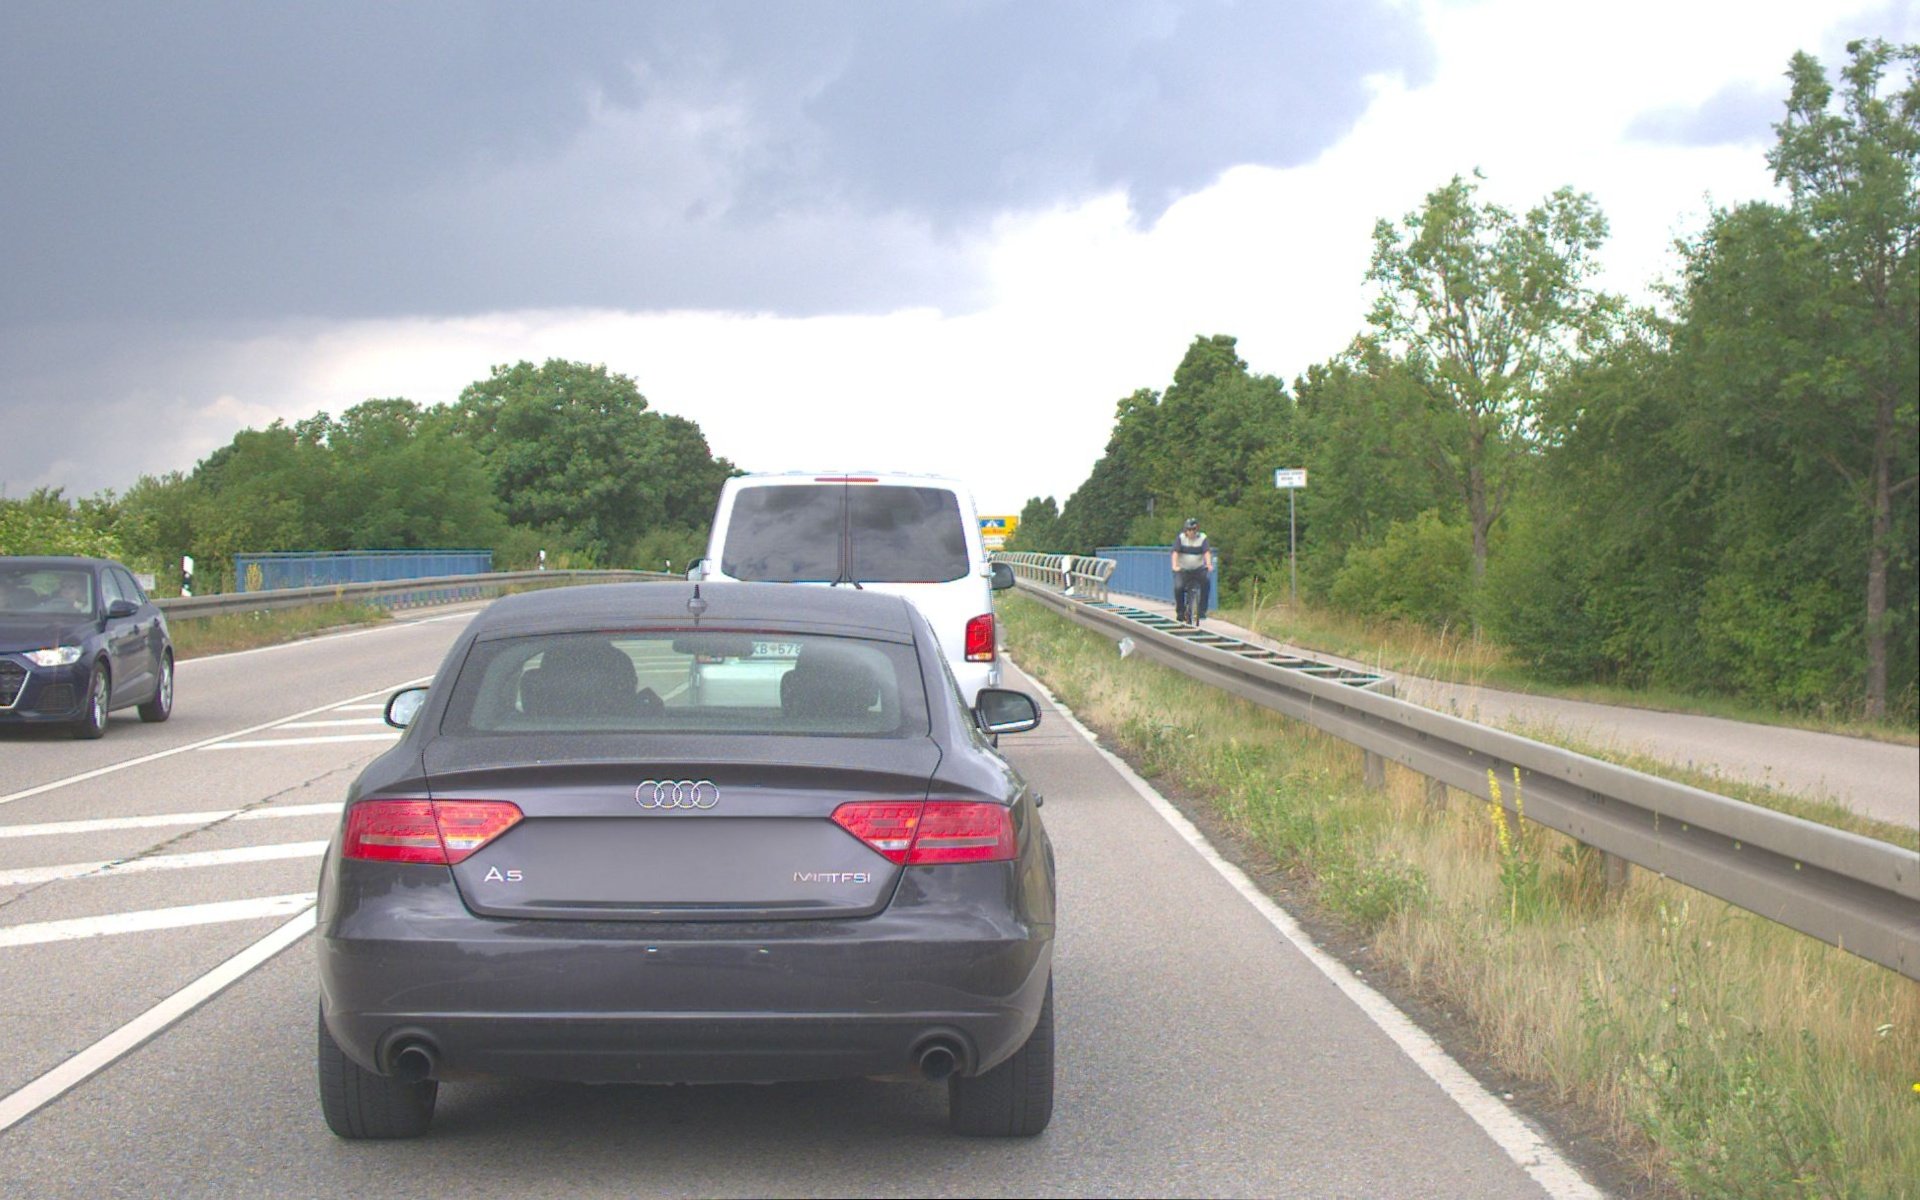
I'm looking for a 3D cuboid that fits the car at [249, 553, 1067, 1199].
[{"bbox_3d":[-0.706,0.603,9.595,1.785,1.419,4.000,1,0,-1],"label":"car"}]

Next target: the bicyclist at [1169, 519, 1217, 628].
[{"bbox_3d":[3.556,-0.410,52.551,0.647,1.639,0.866,0,1,-1],"label":"bicyclist"}]

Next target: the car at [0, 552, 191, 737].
[{"bbox_3d":[-7.533,0.308,27.805,1.862,1.371,4.000,1,1,-2],"label":"car"}]

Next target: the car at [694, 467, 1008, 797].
[{"bbox_3d":[-0.672,0.170,21.828,1.785,1.883,4.000,1,0,-1],"label":"car"}]

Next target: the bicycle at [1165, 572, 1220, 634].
[{"bbox_3d":[3.554,0.043,52.631,0.666,0.917,1.830,0,1,-1],"label":"bicycle"}]

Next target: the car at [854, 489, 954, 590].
[{"bbox_3d":[-1.427,-1.560,88.304,2.447,2.495,5.041,1,1,-1],"label":"car"}]
